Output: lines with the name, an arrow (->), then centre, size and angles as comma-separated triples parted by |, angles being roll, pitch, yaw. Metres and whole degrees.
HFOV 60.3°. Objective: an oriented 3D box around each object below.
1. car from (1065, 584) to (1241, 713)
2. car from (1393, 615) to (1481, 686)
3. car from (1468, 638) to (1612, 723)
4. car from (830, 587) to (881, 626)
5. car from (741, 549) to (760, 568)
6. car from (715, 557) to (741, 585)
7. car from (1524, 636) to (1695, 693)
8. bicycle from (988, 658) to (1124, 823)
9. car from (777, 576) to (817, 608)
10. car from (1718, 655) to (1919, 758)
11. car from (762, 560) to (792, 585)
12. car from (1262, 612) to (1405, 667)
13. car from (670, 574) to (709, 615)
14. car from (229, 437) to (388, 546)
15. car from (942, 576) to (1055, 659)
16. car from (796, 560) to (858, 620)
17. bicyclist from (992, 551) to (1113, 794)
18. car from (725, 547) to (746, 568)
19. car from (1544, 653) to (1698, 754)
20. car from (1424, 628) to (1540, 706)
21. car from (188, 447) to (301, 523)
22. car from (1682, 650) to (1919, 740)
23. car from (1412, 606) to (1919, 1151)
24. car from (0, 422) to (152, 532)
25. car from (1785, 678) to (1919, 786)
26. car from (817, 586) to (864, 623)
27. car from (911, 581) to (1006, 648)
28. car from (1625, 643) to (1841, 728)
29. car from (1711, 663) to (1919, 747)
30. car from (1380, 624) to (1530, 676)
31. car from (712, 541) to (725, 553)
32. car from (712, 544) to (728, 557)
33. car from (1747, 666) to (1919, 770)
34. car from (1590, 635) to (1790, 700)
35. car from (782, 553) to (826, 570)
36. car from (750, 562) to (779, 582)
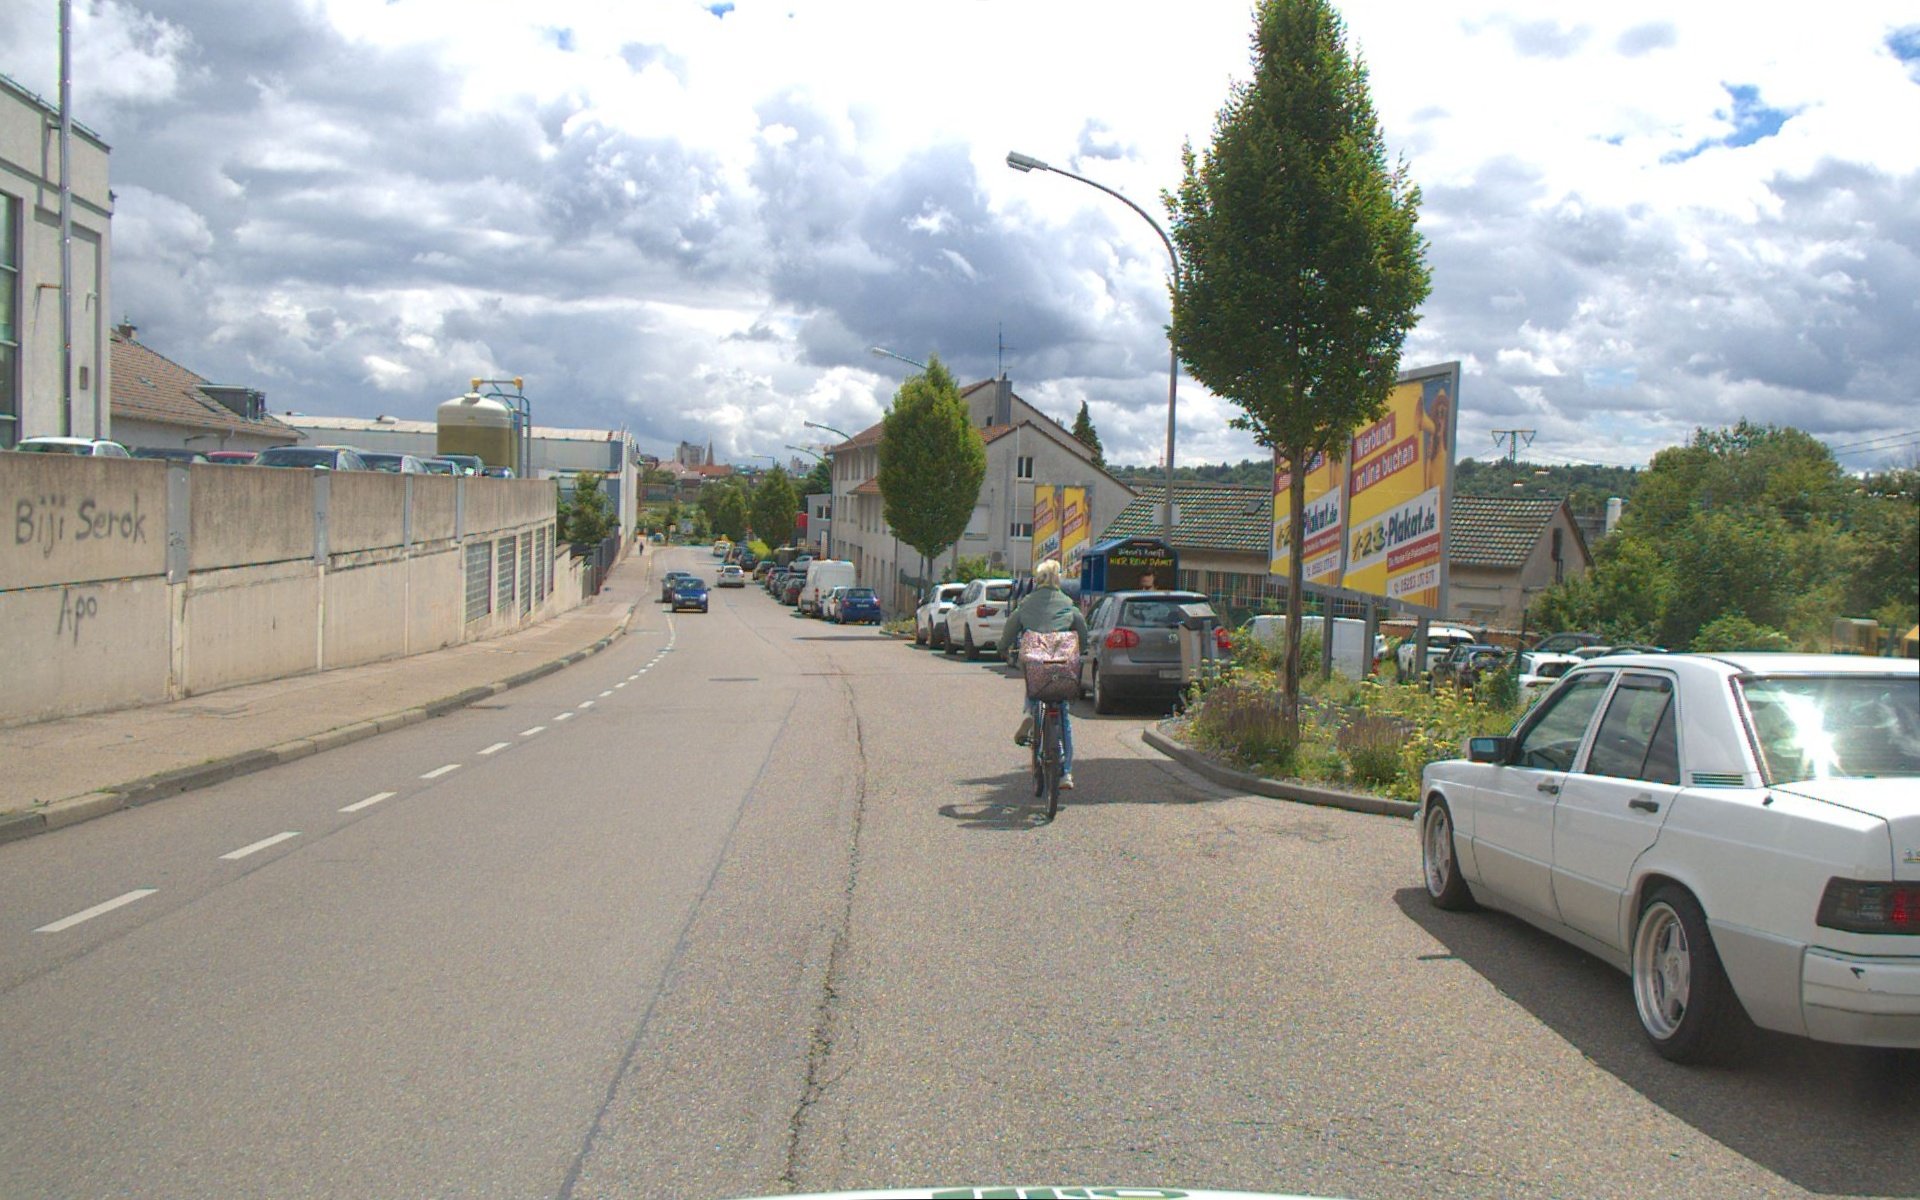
car -> 2.404, 0.559, 21.531 | 1.622, 1.511, 4.042 | 0, 0, -3
car -> 12.917, 1.323, 44.992 | 1.712, 1.714, 4.683 | 0, 1, 9
car -> 12.153, 1.648, 34.949 | 1.714, 1.544, 4.584 | 0, 0, 4
car -> -4.322, 0.249, 67.905 | 1.539, 1.536, 4.083 | 1, 0, -11
car -> -19.576, -3.855, 154.403 | 1.648, 1.666, 4.115 | 1, 2, -9
car -> -15.921, -1.962, 113.282 | 1.539, 1.817, 3.596 | 1, 0, -11
car -> 17.180, 1.691, 43.924 | 4.086, 1.414, 1.791 | 0, 0, 17
bicycle -> 0.642, 0.953, 11.695 | 0.725, 0.992, 1.731 | 2, 0, -4
car -> -9.377, -0.486, 94.894 | 1.674, 1.536, 5.074 | 3, 2, -12
car -> 15.732, 1.830, 28.632 | 4.351, 1.582, 2.002 | 1, 0, 8
car -> -12.401, -1.872, 112.159 | 1.703, 1.497, 4.252 | 2, 3, -10
car -> 11.603, 1.202, 51.526 | 3.969, 1.414, 1.735 | 4, 3, 40
car -> -12.726, -0.264, 77.633 | 1.598, 1.849, 3.768 | 0, 0, -12
car -> -11.620, -1.873, 29.764 | 1.773, 1.665, 4.096 | 1, 0, -9
car -> 0.771, 0.353, 36.091 | 1.655, 1.688, 4.470 | 1, 0, -10
car -> -6.411, -0.489, 78.846 | 1.997, 2.687, 7.262 | 1, 0, -12
bicyclist -> 0.643, 0.497, 11.710 | 0.725, 1.655, 0.731 | 1, 0, -6
car -> -22.924, -4.320, 168.893 | 1.835, 2.024, 5.131 | 1, 2, -11
car -> 11.888, 1.807, 29.997 | 1.658, 1.471, 4.157 | 2, 1, 9
car -> 12.435, 1.549, 39.654 | 1.773, 1.650, 4.466 | 0, 0, 6
car -> -18.511, -2.939, 42.961 | 1.773, 1.665, 4.103 | 1, 0, -10
car -> 16.782, 1.867, 33.180 | 3.902, 1.586, 1.824 | 1, 0, 11
car -> 3.186, 0.779, 6.576 | 1.604, 1.411, 4.205 | 1, 0, 0
car -> -16.076, -2.142, 29.629 | 1.773, 1.665, 4.103 | 1, 0, -10
car -> 14.155, 1.937, 23.893 | 3.949, 1.378, 1.735 | 1, 0, 29
car -> -5.277, 0.169, 72.853 | 1.564, 1.536, 3.779 | 1, 0, -12
car -> -0.102, 0.342, 41.921 | 1.807, 1.592, 4.457 | 0, 0, -8
car -> 16.710, 1.830, 35.914 | 3.902, 1.640, 1.798 | 1, 0, 11
car -> 16.284, 1.933, 30.764 | 3.902, 1.353, 1.757 | 1, 0, 11
car -> 14.350, 1.426, 47.985 | 3.954, 1.414, 1.522 | 0, 0, 29
car -> -32.594, -7.157, 222.798 | 1.670, 1.554, 3.731 | 2, 2, -9
car -> -30.783, -6.336, 212.160 | 1.673, 1.554, 3.725 | 4, 1, -14
car -> 14.794, 1.874, 26.232 | 3.902, 1.467, 1.738 | 1, 0, 15
car -> 16.817, 1.537, 38.276 | 3.944, 1.414, 1.745 | 0, 0, 11
car -> -14.042, -3.461, 148.924 | 4.001, 1.488, 1.716 | 1, 4, 41
car -> -15.162, -2.192, 128.245 | 1.759, 1.491, 4.695 | 1, 1, -12
